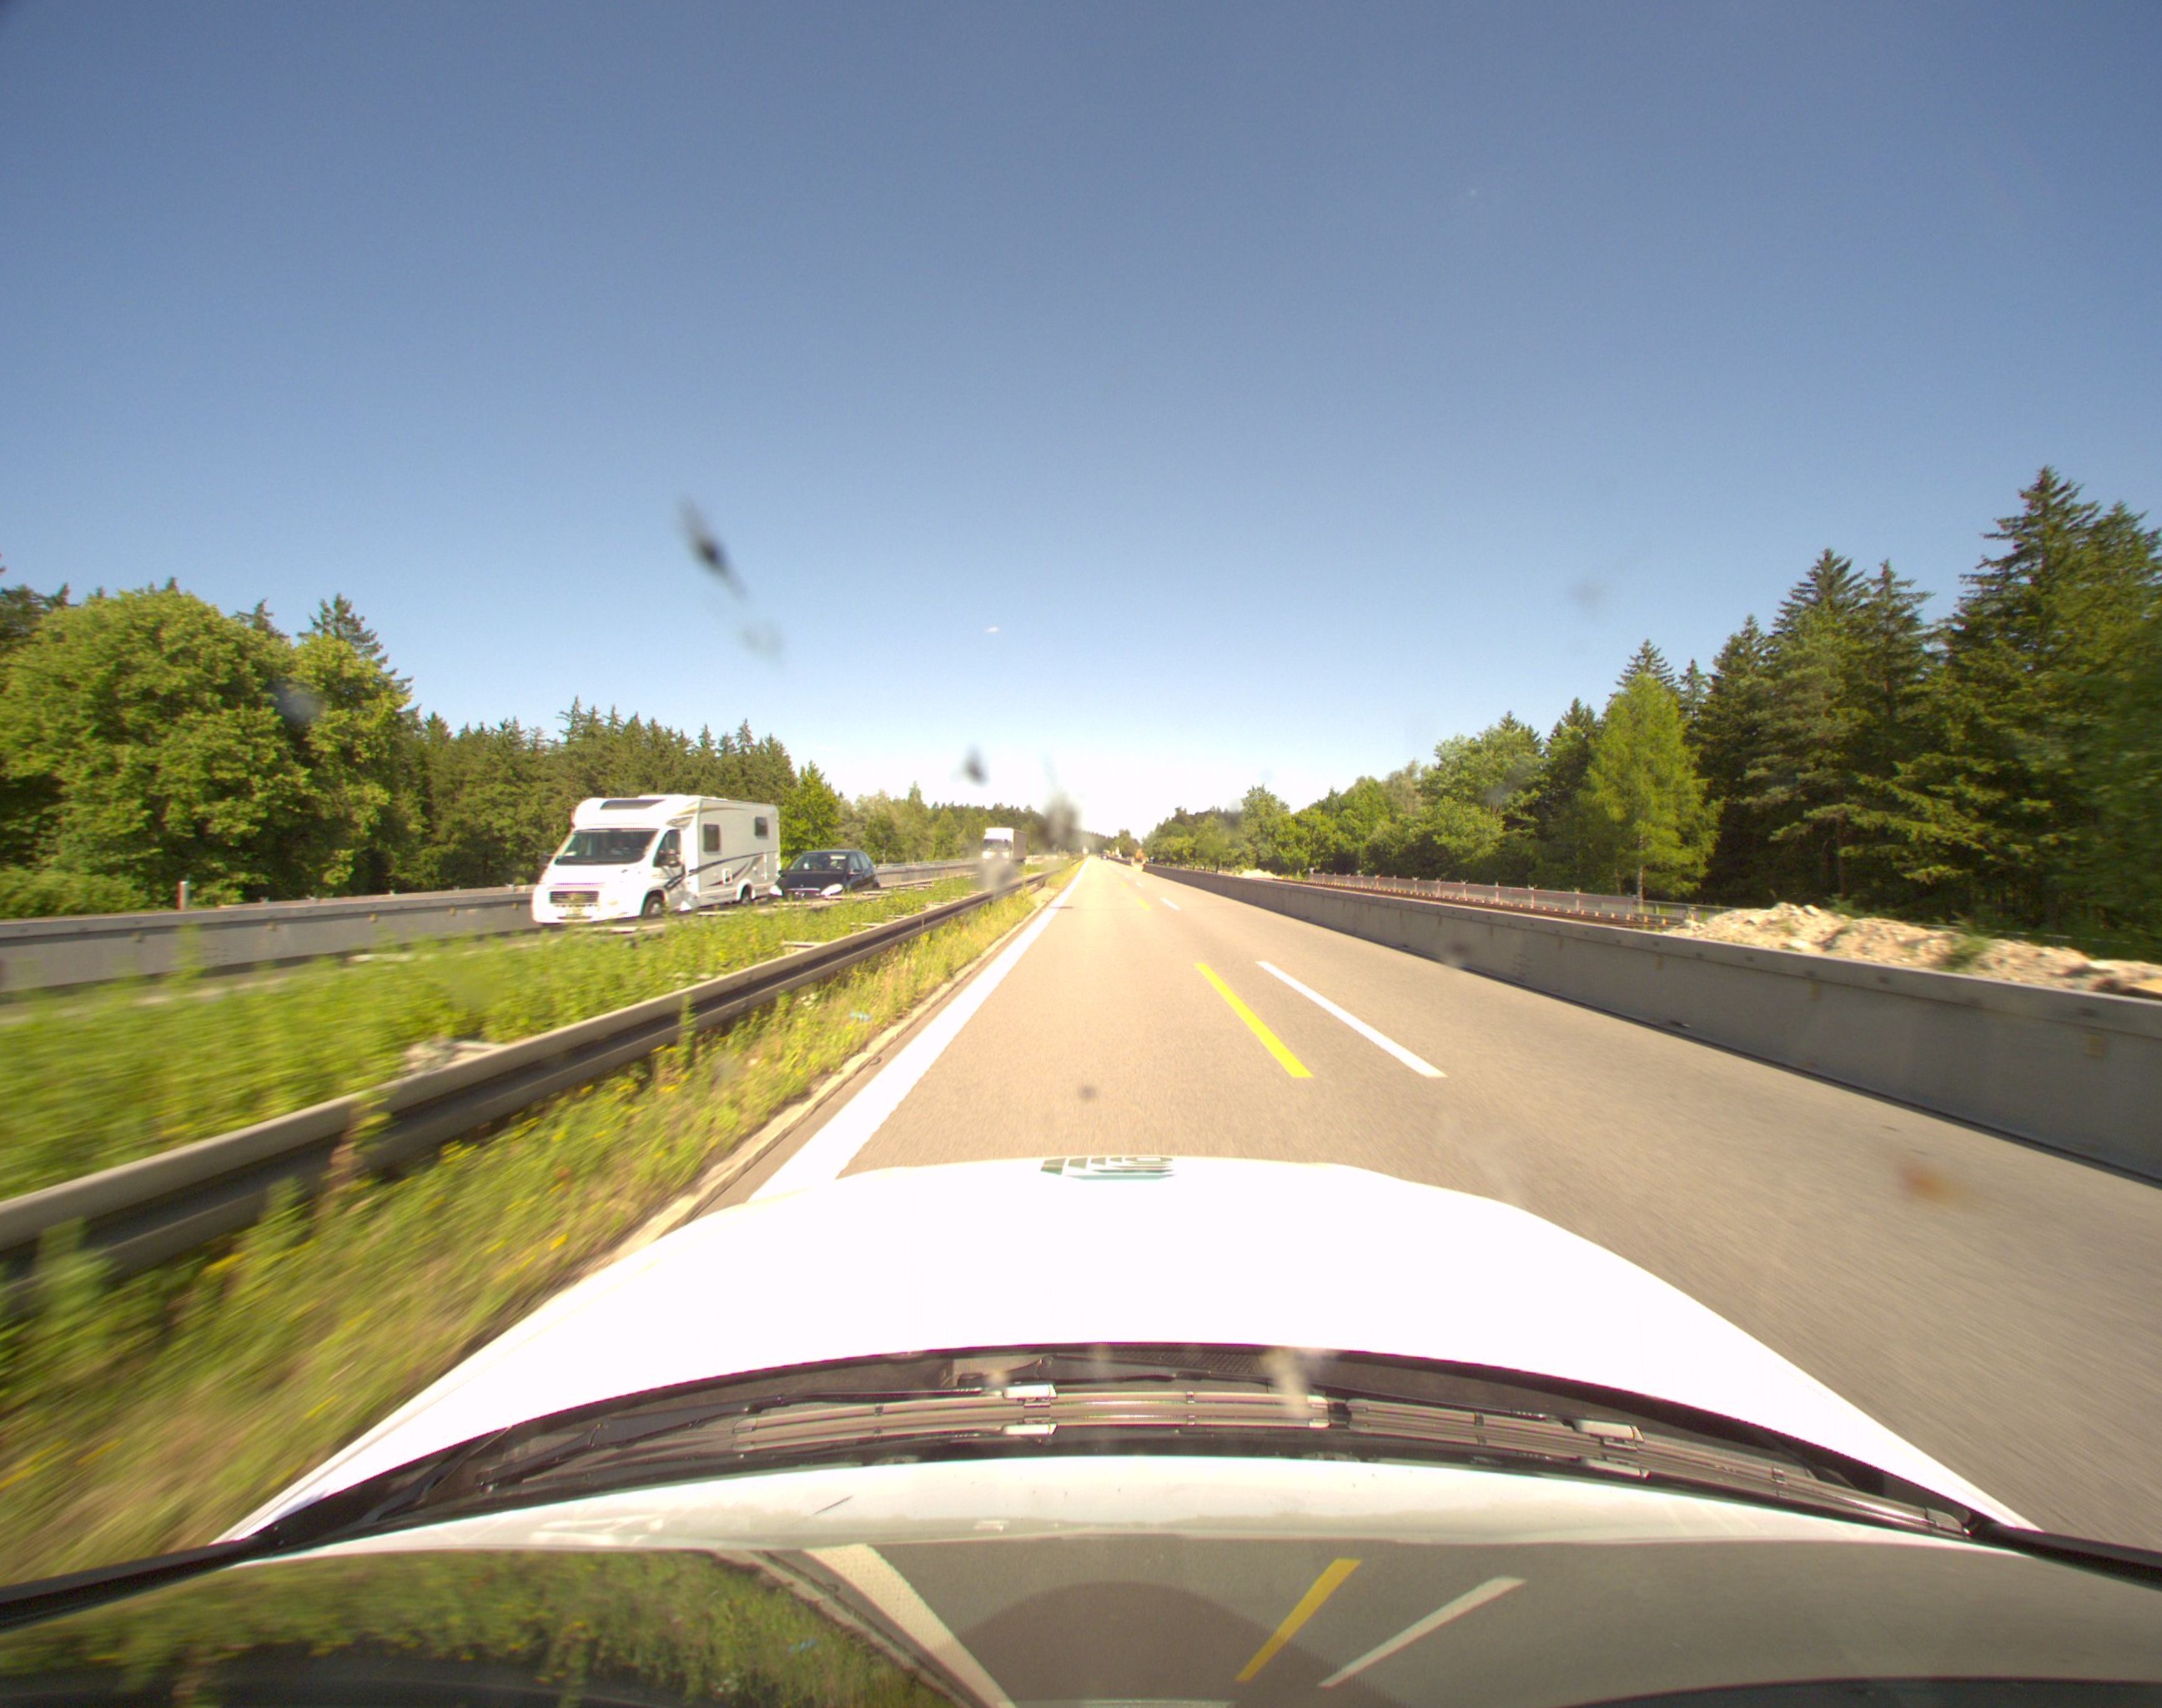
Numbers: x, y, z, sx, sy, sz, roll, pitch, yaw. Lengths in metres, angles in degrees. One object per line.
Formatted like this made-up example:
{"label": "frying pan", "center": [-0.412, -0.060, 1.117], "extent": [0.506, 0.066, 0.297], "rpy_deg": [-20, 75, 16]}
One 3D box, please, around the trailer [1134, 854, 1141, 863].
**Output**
{"label": "trailer", "center": [11.943, 0.946, 172.463], "extent": [1.122, 1.873, 3.998], "rpy_deg": [1, 0, -1]}

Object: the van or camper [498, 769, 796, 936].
{"label": "van or camper", "center": [-9.077, -0.018, 18.310], "extent": [2.397, 2.950, 7.526], "rpy_deg": [-1, 0, 2]}

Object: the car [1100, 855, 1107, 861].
{"label": "car", "center": [5.906, 1.122, 217.385], "extent": [1.738, 1.466, 4.294], "rpy_deg": [1, 0, 1]}

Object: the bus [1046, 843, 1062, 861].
{"label": "bus", "center": [-5.681, -0.338, 173.276], "extent": [2.872, 3.670, 12.916], "rpy_deg": [1, 0, 0]}

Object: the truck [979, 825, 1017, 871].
{"label": "truck", "center": [-7.658, -0.522, 75.623], "extent": [2.761, 4.088, 5.476], "rpy_deg": [-1, 0, 1]}

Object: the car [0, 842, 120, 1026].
{"label": "car", "center": [-9.330, 0.667, 4.470], "extent": [1.735, 1.432, 5.237], "rpy_deg": [-3, 0, 2]}

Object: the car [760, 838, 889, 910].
{"label": "car", "center": [-6.149, 0.450, 20.039], "extent": [1.735, 1.530, 4.002], "rpy_deg": [-2, 0, 2]}

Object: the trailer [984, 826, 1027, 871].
{"label": "trailer", "center": [-7.459, -0.493, 82.459], "extent": [2.731, 4.070, 13.998], "rpy_deg": [-1, 0, 1]}
